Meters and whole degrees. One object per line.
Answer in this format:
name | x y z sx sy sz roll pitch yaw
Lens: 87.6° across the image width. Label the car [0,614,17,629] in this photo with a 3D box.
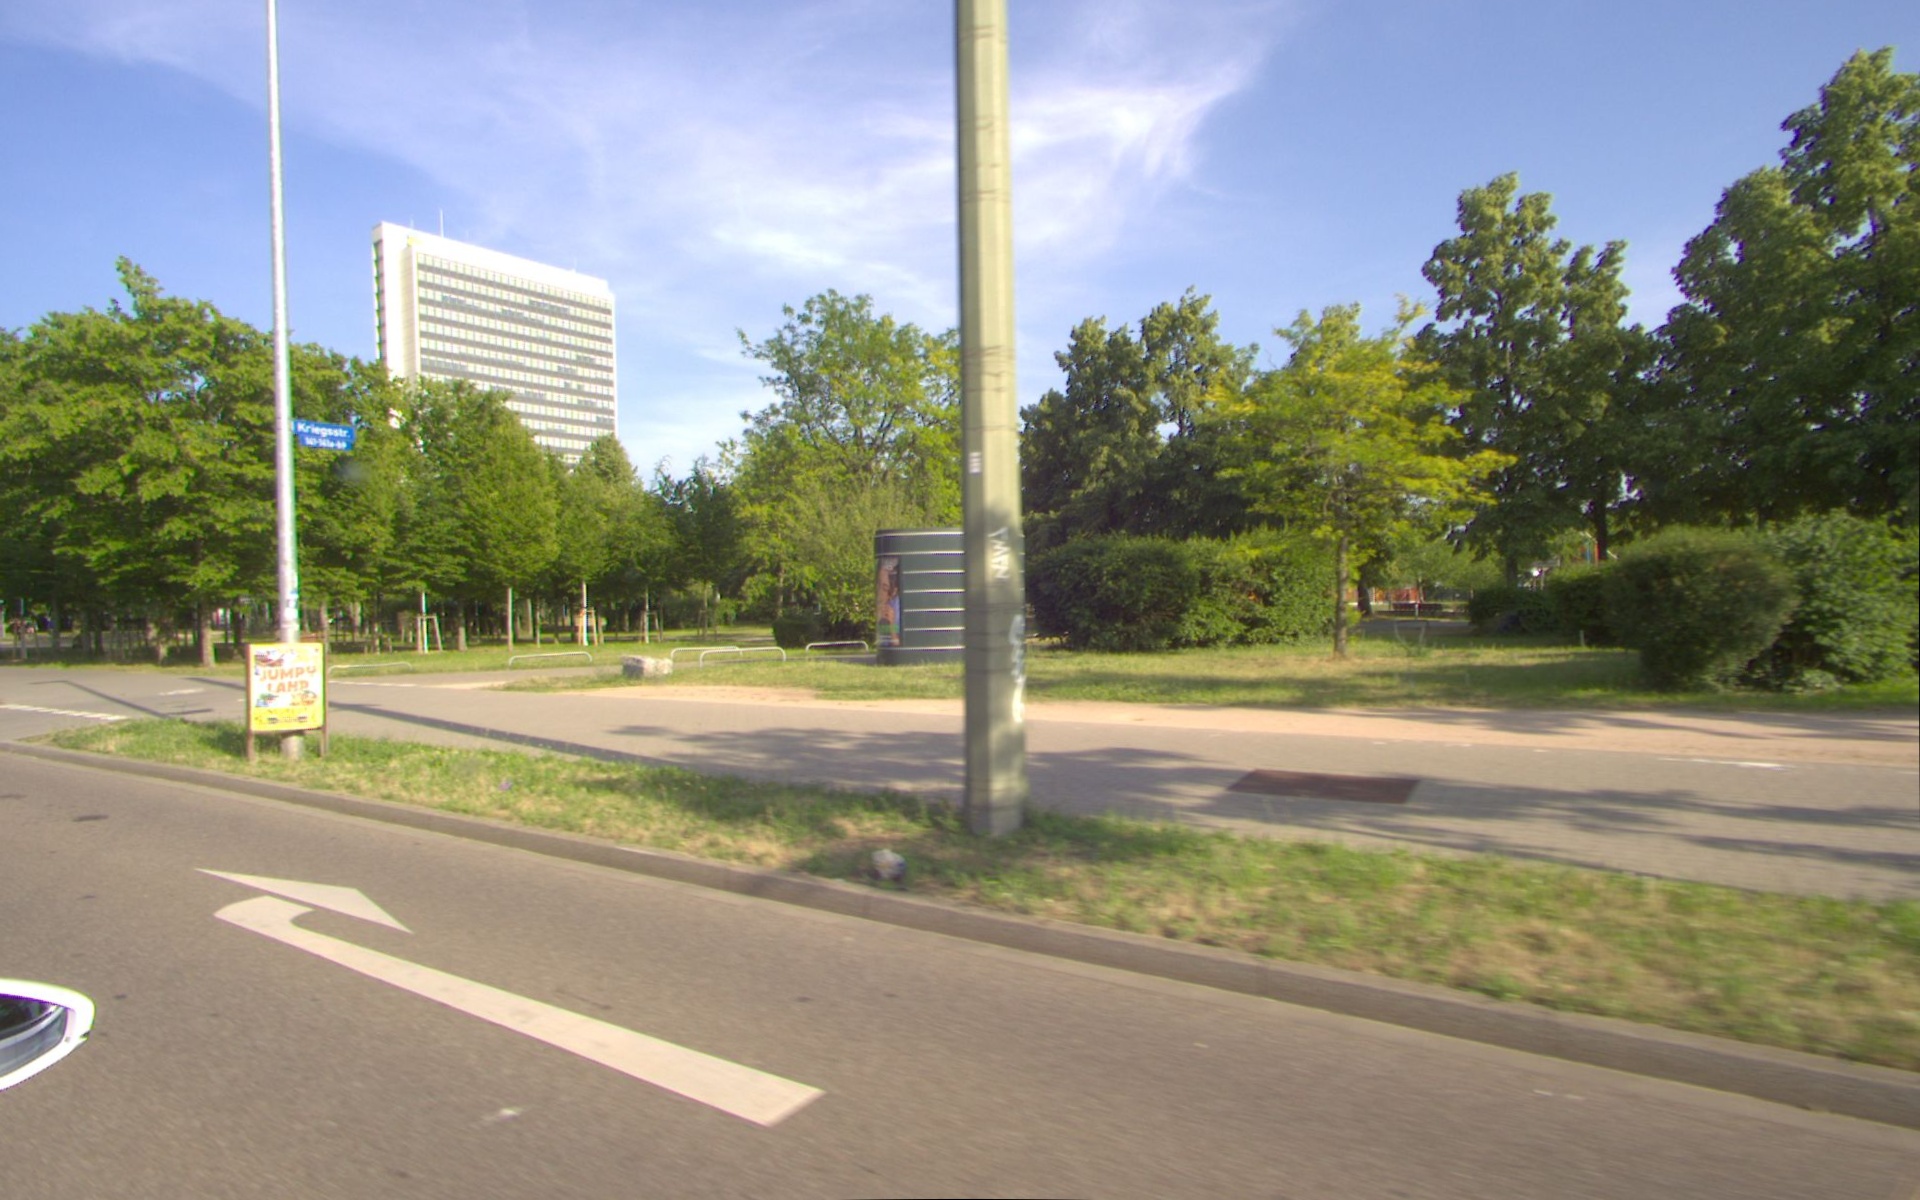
car | -109.023 2.473 112.585 1.961 1.673 3.999 -1 0 6
